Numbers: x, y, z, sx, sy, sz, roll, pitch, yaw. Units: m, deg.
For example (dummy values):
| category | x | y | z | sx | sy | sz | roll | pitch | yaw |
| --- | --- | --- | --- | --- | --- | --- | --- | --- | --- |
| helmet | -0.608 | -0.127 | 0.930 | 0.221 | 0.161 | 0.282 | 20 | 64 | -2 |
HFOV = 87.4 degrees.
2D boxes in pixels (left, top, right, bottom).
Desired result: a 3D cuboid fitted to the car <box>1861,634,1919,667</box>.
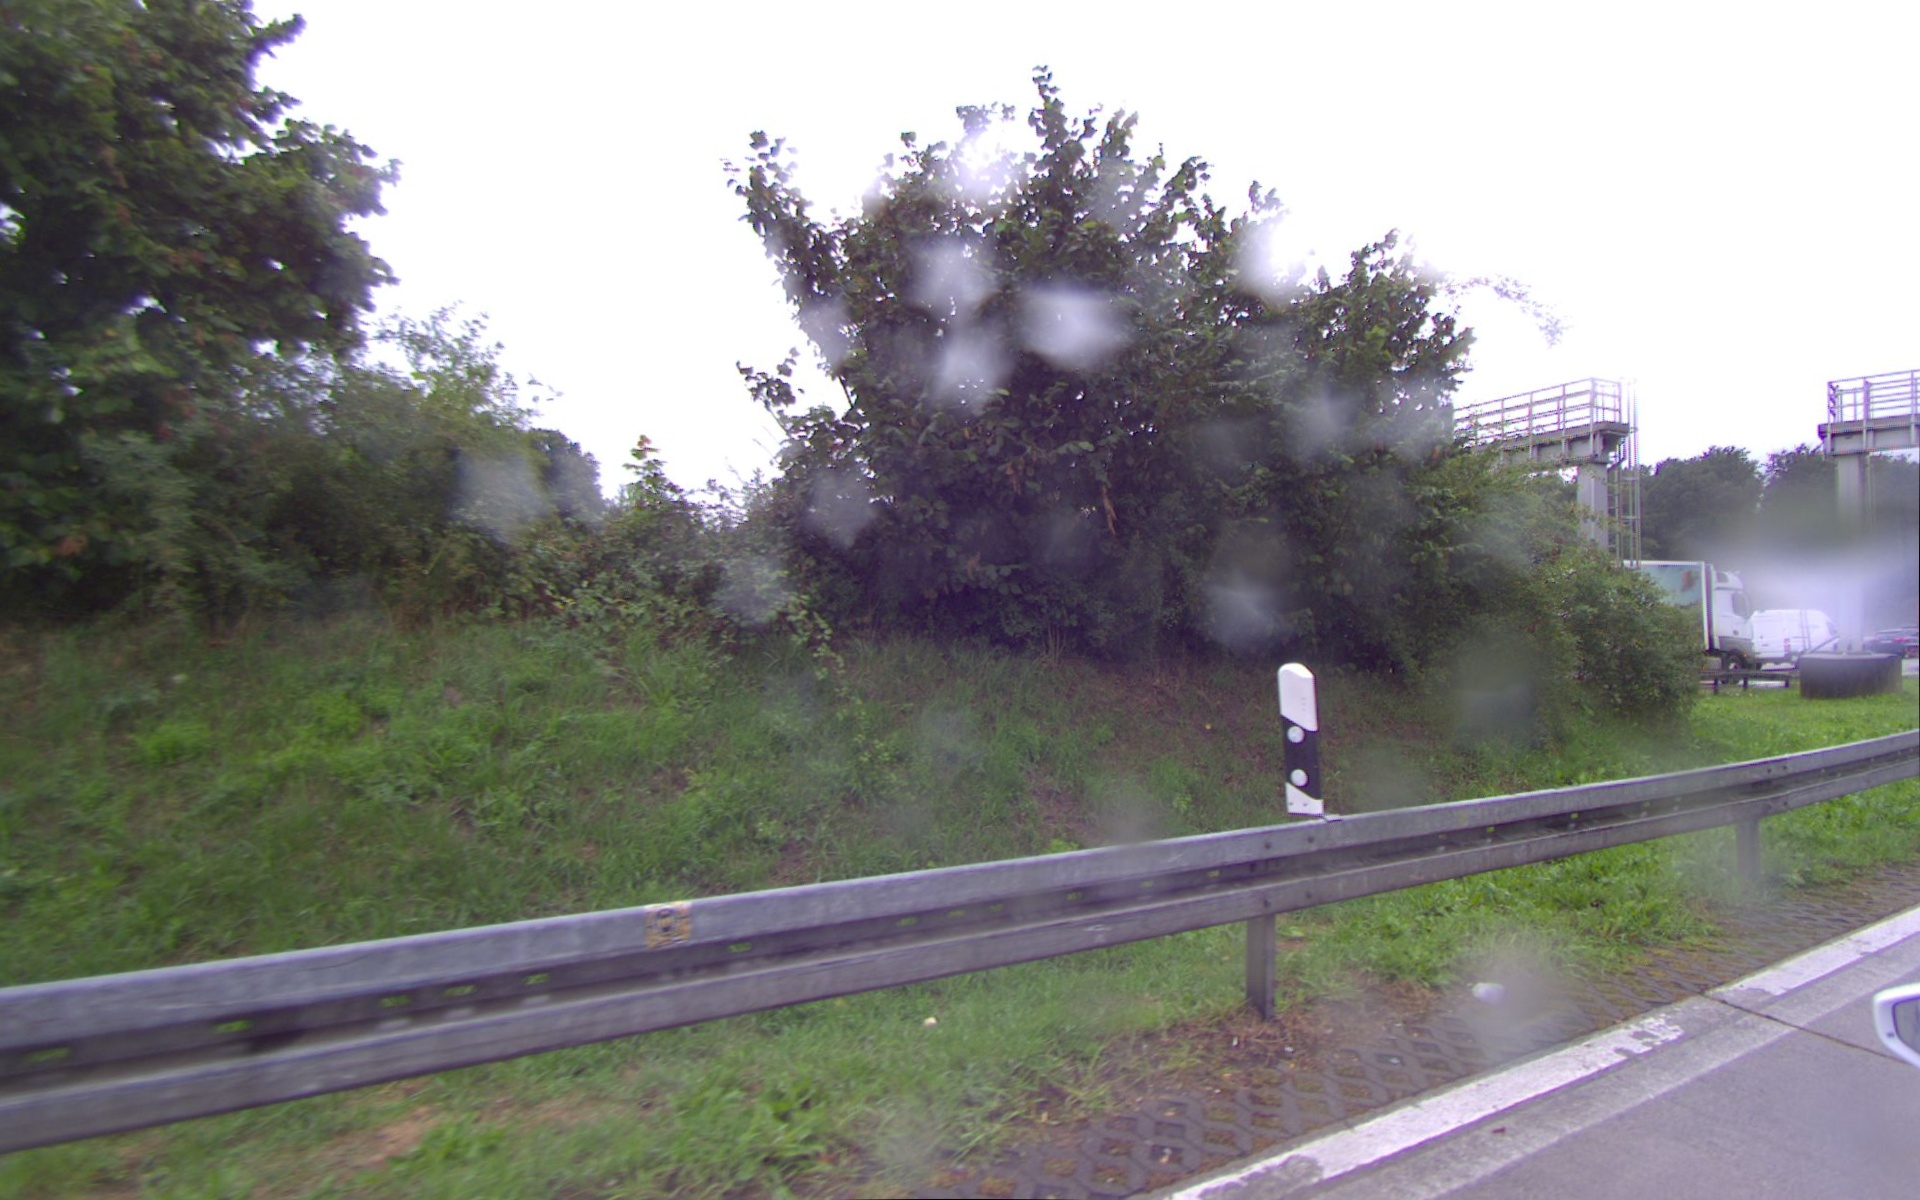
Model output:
| category | x | y | z | sx | sy | sz | roll | pitch | yaw |
| --- | --- | --- | --- | --- | --- | --- | --- | --- | --- |
| car | 53.618 | 2.871 | 57.471 | 3.949 | 1.750 | 1.779 | 1 | 0 | -28 |

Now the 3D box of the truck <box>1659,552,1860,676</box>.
| category | x | y | z | sx | sy | sz | roll | pitch | yaw |
| --- | --- | --- | --- | --- | --- | --- | --- | --- | --- |
| truck | 29.027 | 0.556 | 36.474 | 6.625 | 4.152 | 2.912 | 0 | -3 | -24 |

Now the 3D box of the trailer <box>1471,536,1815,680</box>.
| category | x | y | z | sx | sy | sz | roll | pitch | yaw |
| --- | --- | --- | --- | --- | --- | --- | --- | --- | --- |
| trailer | 23.263 | 0.355 | 33.883 | 13.445 | 4.260 | 2.912 | 1 | -3 | -24 |

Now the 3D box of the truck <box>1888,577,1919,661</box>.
| category | x | y | z | sx | sy | sz | roll | pitch | yaw |
| --- | --- | --- | --- | --- | --- | --- | --- | --- | --- |
| truck | 47.095 | 0.777 | 45.809 | 11.638 | 3.635 | 2.823 | 0 | -3 | -26 |

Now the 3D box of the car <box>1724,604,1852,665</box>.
| category | x | y | z | sx | sy | sz | roll | pitch | yaw |
| --- | --- | --- | --- | --- | --- | --- | --- | --- | --- |
| car | 37.973 | 1.556 | 46.042 | 5.764 | 2.664 | 2.209 | 0 | -2 | -25 |
